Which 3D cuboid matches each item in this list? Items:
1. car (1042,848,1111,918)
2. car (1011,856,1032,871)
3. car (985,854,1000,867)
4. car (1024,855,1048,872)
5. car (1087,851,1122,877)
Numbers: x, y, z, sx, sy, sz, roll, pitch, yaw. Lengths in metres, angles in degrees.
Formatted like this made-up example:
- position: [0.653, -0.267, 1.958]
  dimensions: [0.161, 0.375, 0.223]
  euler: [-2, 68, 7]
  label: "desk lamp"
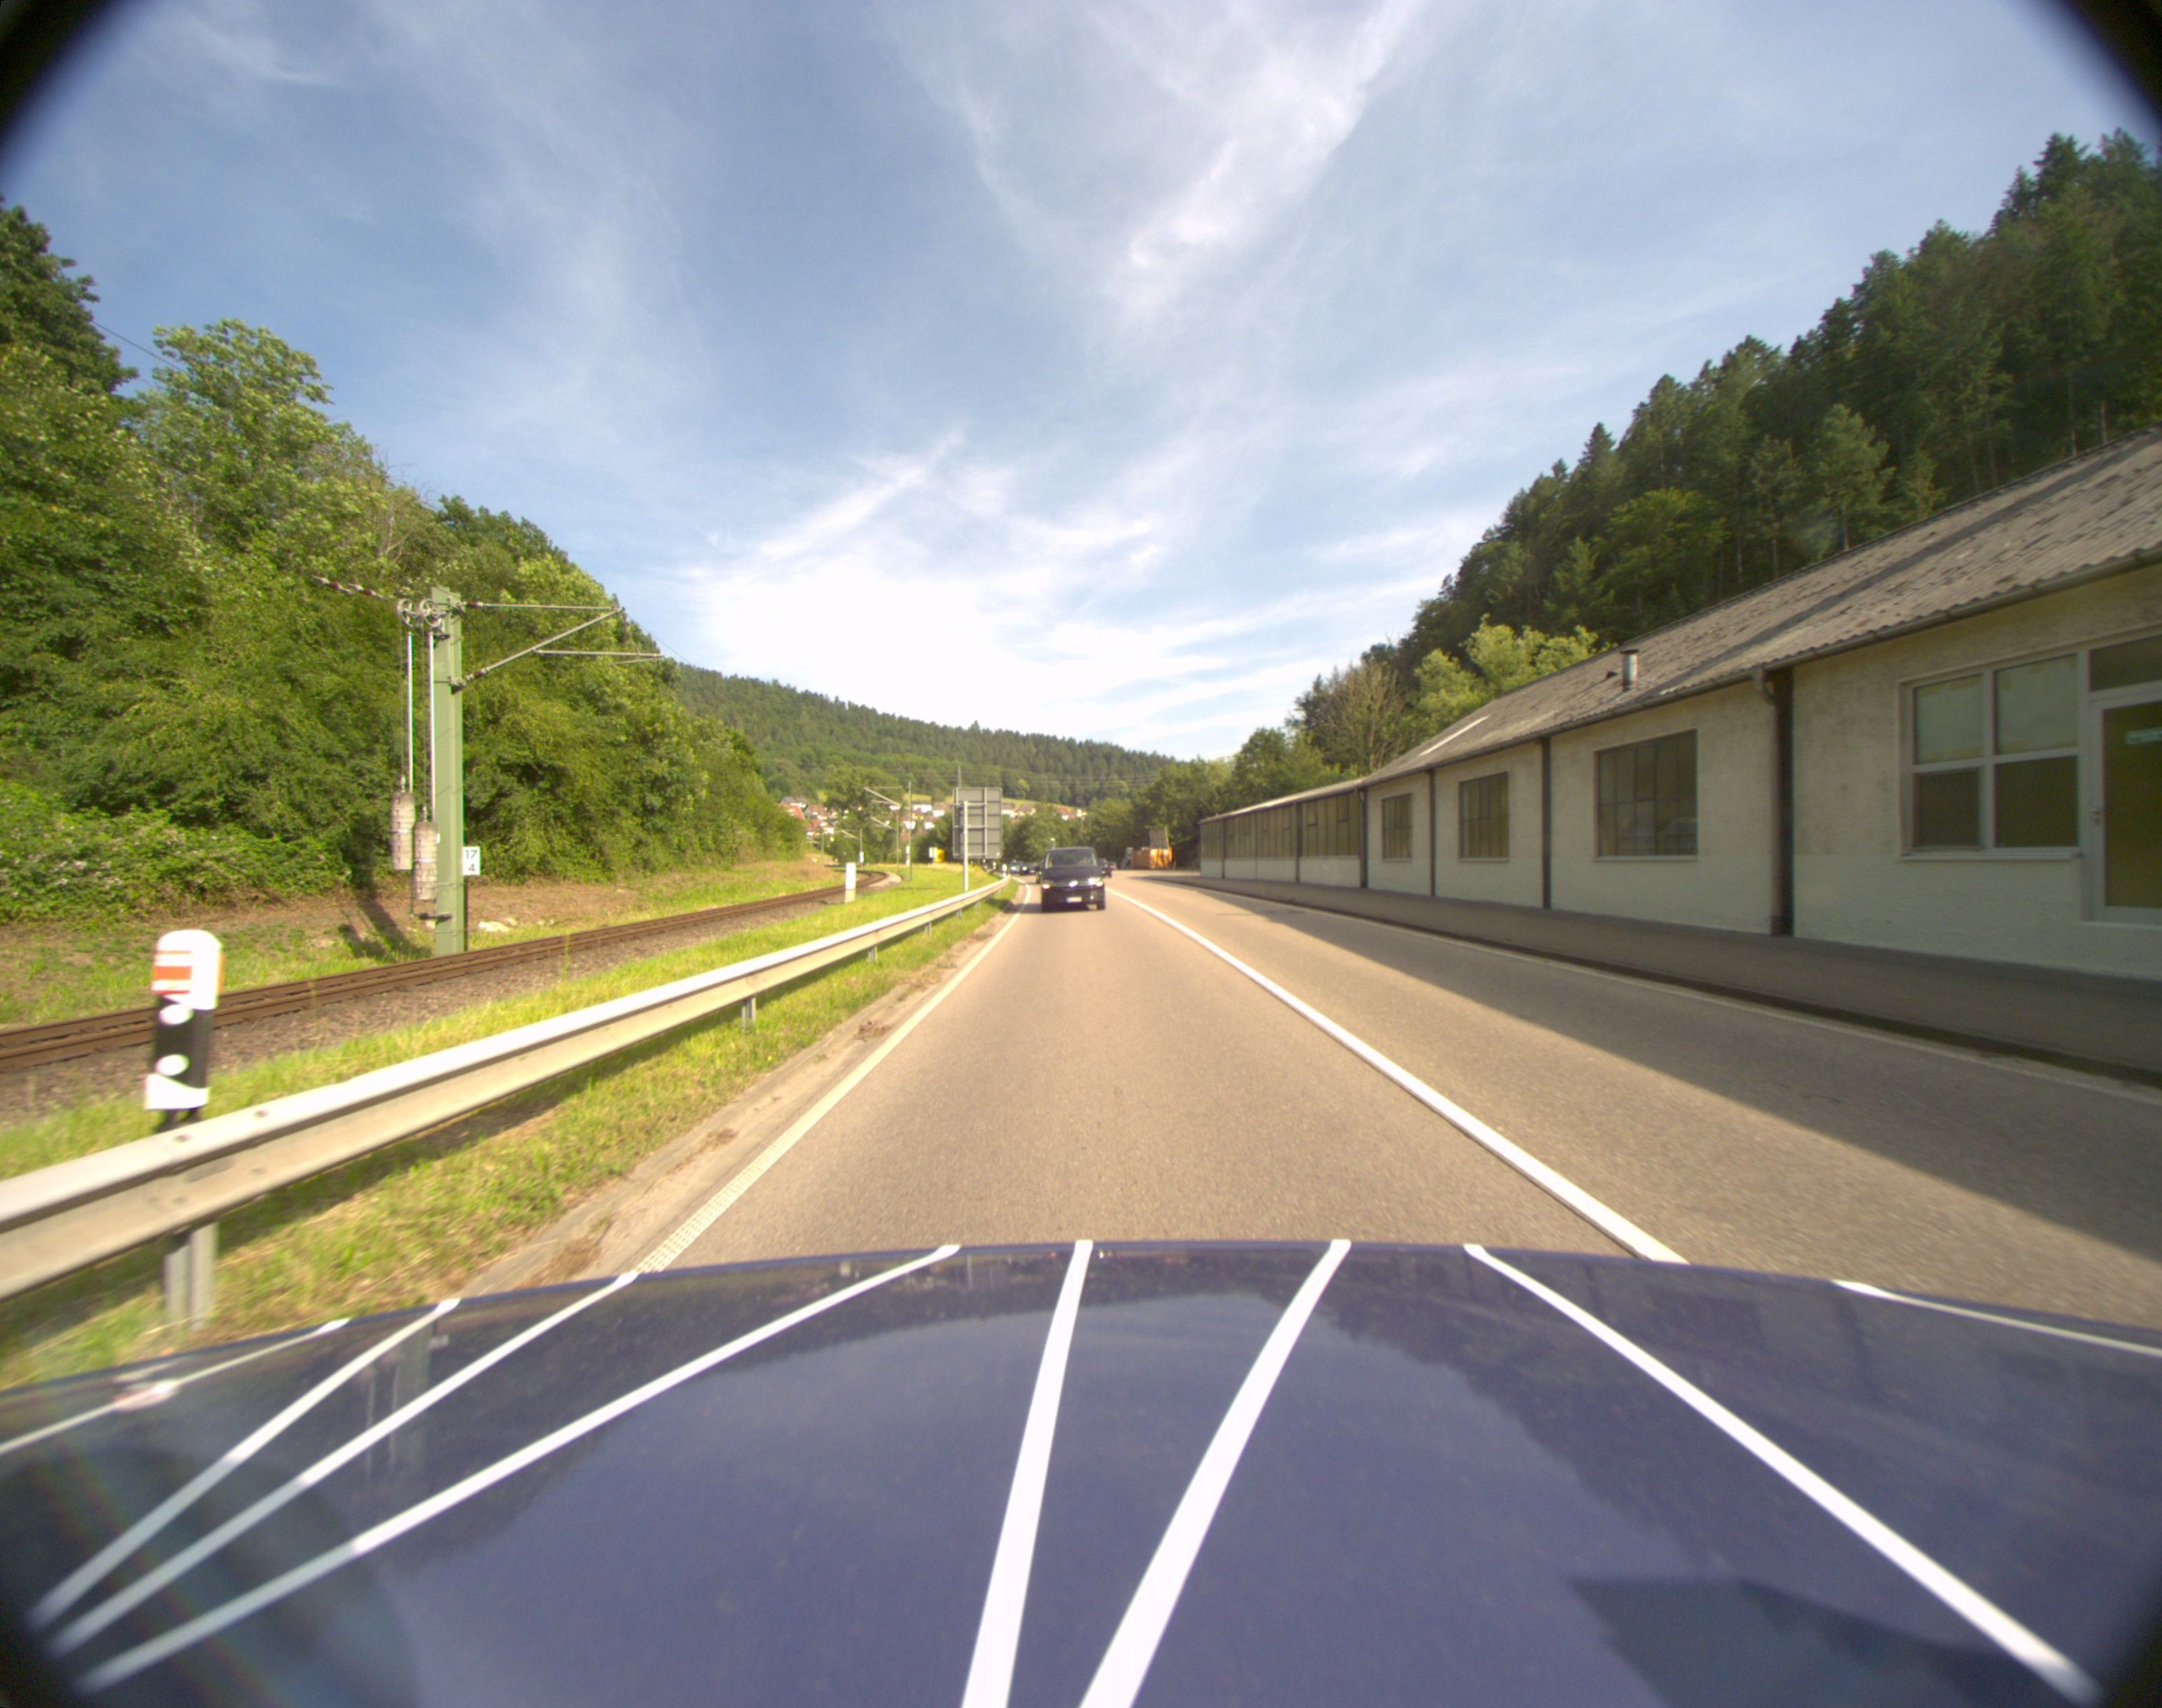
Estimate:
- position: [-0.197, 0.816, 24.179]
  dimensions: [1.901, 1.927, 5.188]
  euler: [-2, 0, -1]
  label: "car"
- position: [-6.540, 1.070, 83.193]
  dimensions: [1.874, 1.583, 4.049]
  euler: [-1, -1, -9]
  label: "car"
- position: [-12.063, 0.885, 103.200]
  dimensions: [1.874, 1.583, 4.048]
  euler: [-2, 0, -9]
  label: "car"
- position: [-4.402, 0.934, 73.554]
  dimensions: [1.874, 1.583, 4.049]
  euler: [-1, -1, -9]
  label: "car"
- position: [1.619, 0.668, 53.054]
  dimensions: [1.999, 1.698, 3.998]
  euler: [-2, 0, -4]
  label: "car"
